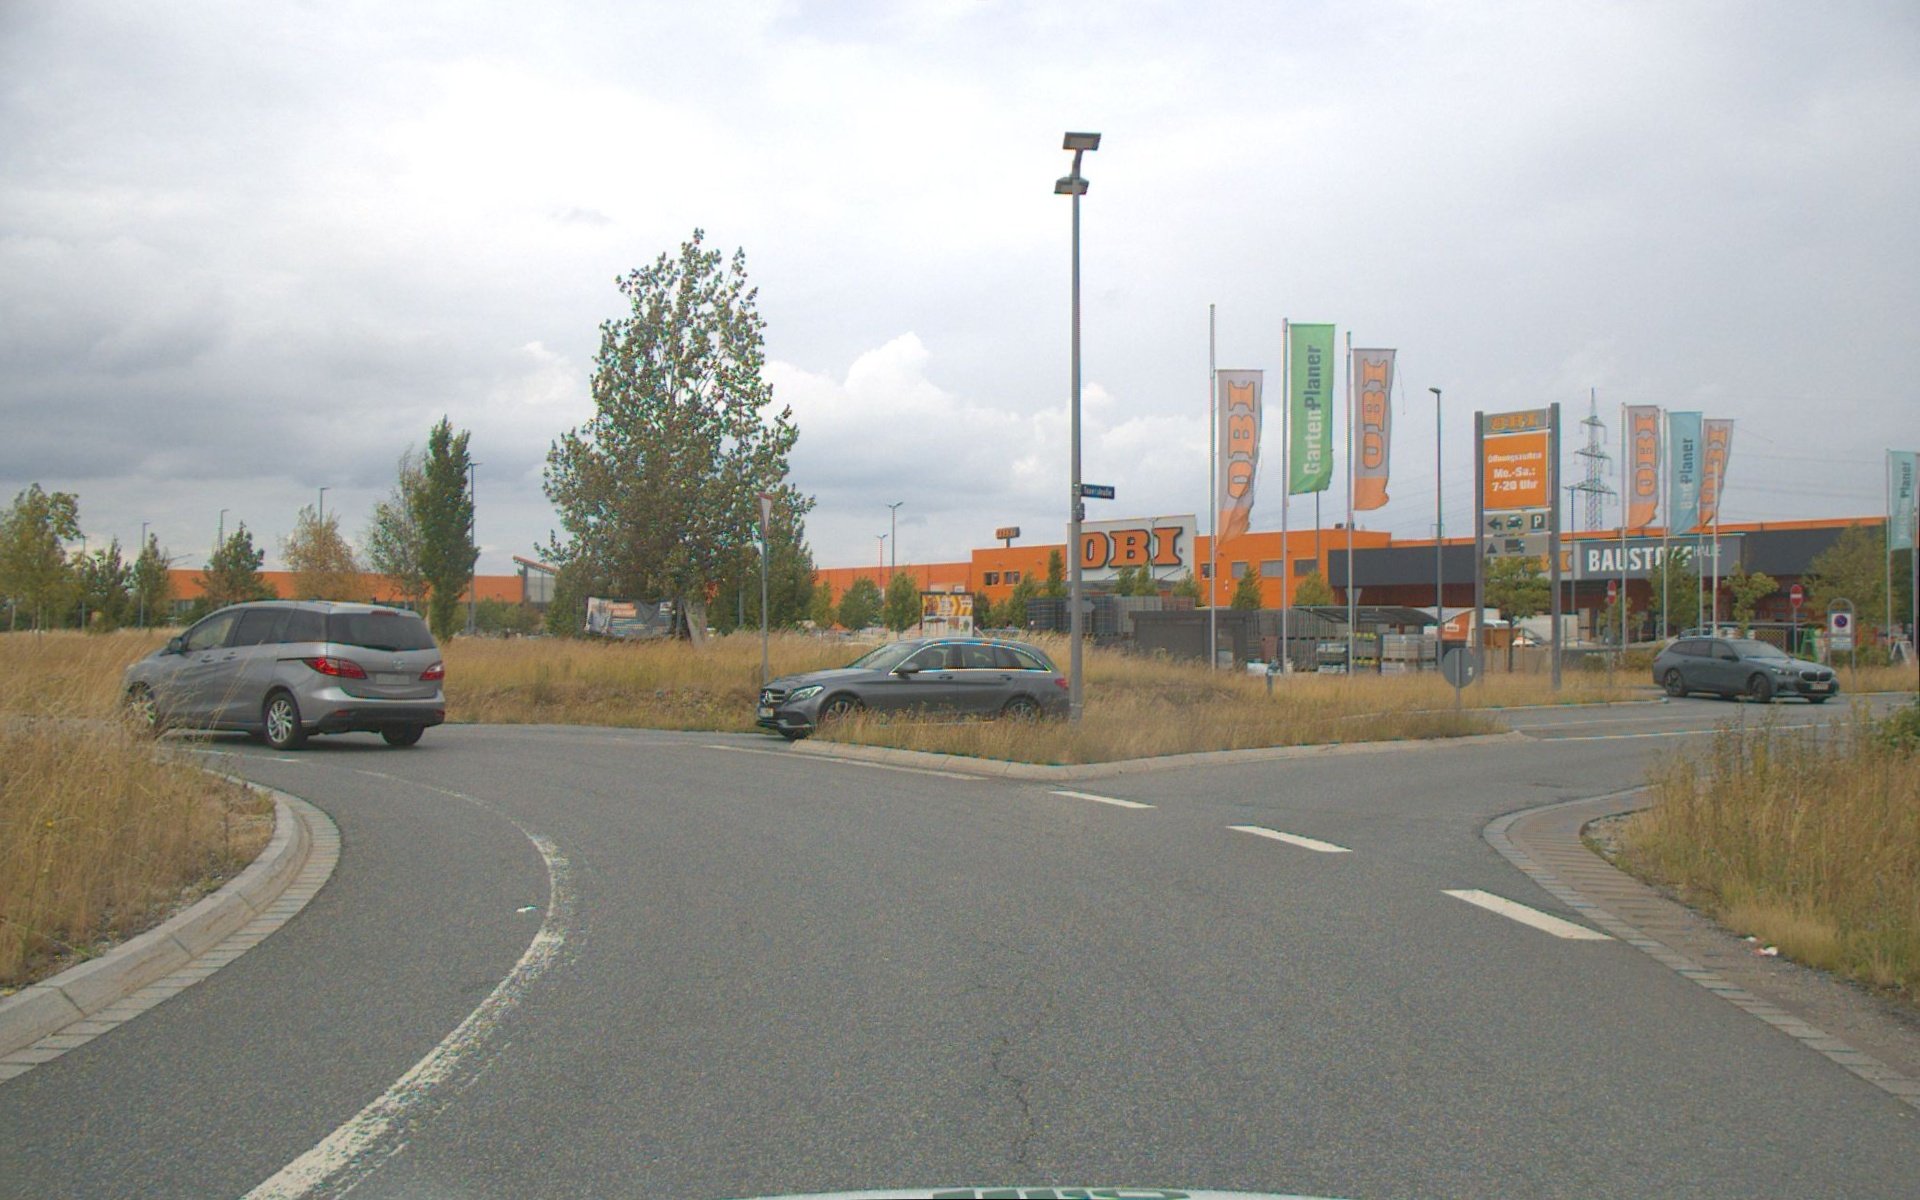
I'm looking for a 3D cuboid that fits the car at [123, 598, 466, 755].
[{"bbox_3d":[-7.681,0.823,19.002,3.915,1.627,1.738,0,-2,34],"label":"car"}]

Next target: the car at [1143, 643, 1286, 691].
[{"bbox_3d":[8.470,2.222,55.280,1.729,1.428,4.683,3,-2,-43],"label":"car"}]

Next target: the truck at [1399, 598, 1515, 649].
[{"bbox_3d":[26.544,1.308,88.497,2.422,2.528,5.459,3,-4,-44],"label":"truck"}]

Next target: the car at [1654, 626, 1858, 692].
[{"bbox_3d":[19.703,1.502,41.172,1.961,1.534,4.660,1,-3,-16],"label":"car"}]

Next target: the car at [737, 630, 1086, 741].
[{"bbox_3d":[-0.654,1.206,23.575,4.622,1.428,1.909,2,-2,-30],"label":"car"}]
